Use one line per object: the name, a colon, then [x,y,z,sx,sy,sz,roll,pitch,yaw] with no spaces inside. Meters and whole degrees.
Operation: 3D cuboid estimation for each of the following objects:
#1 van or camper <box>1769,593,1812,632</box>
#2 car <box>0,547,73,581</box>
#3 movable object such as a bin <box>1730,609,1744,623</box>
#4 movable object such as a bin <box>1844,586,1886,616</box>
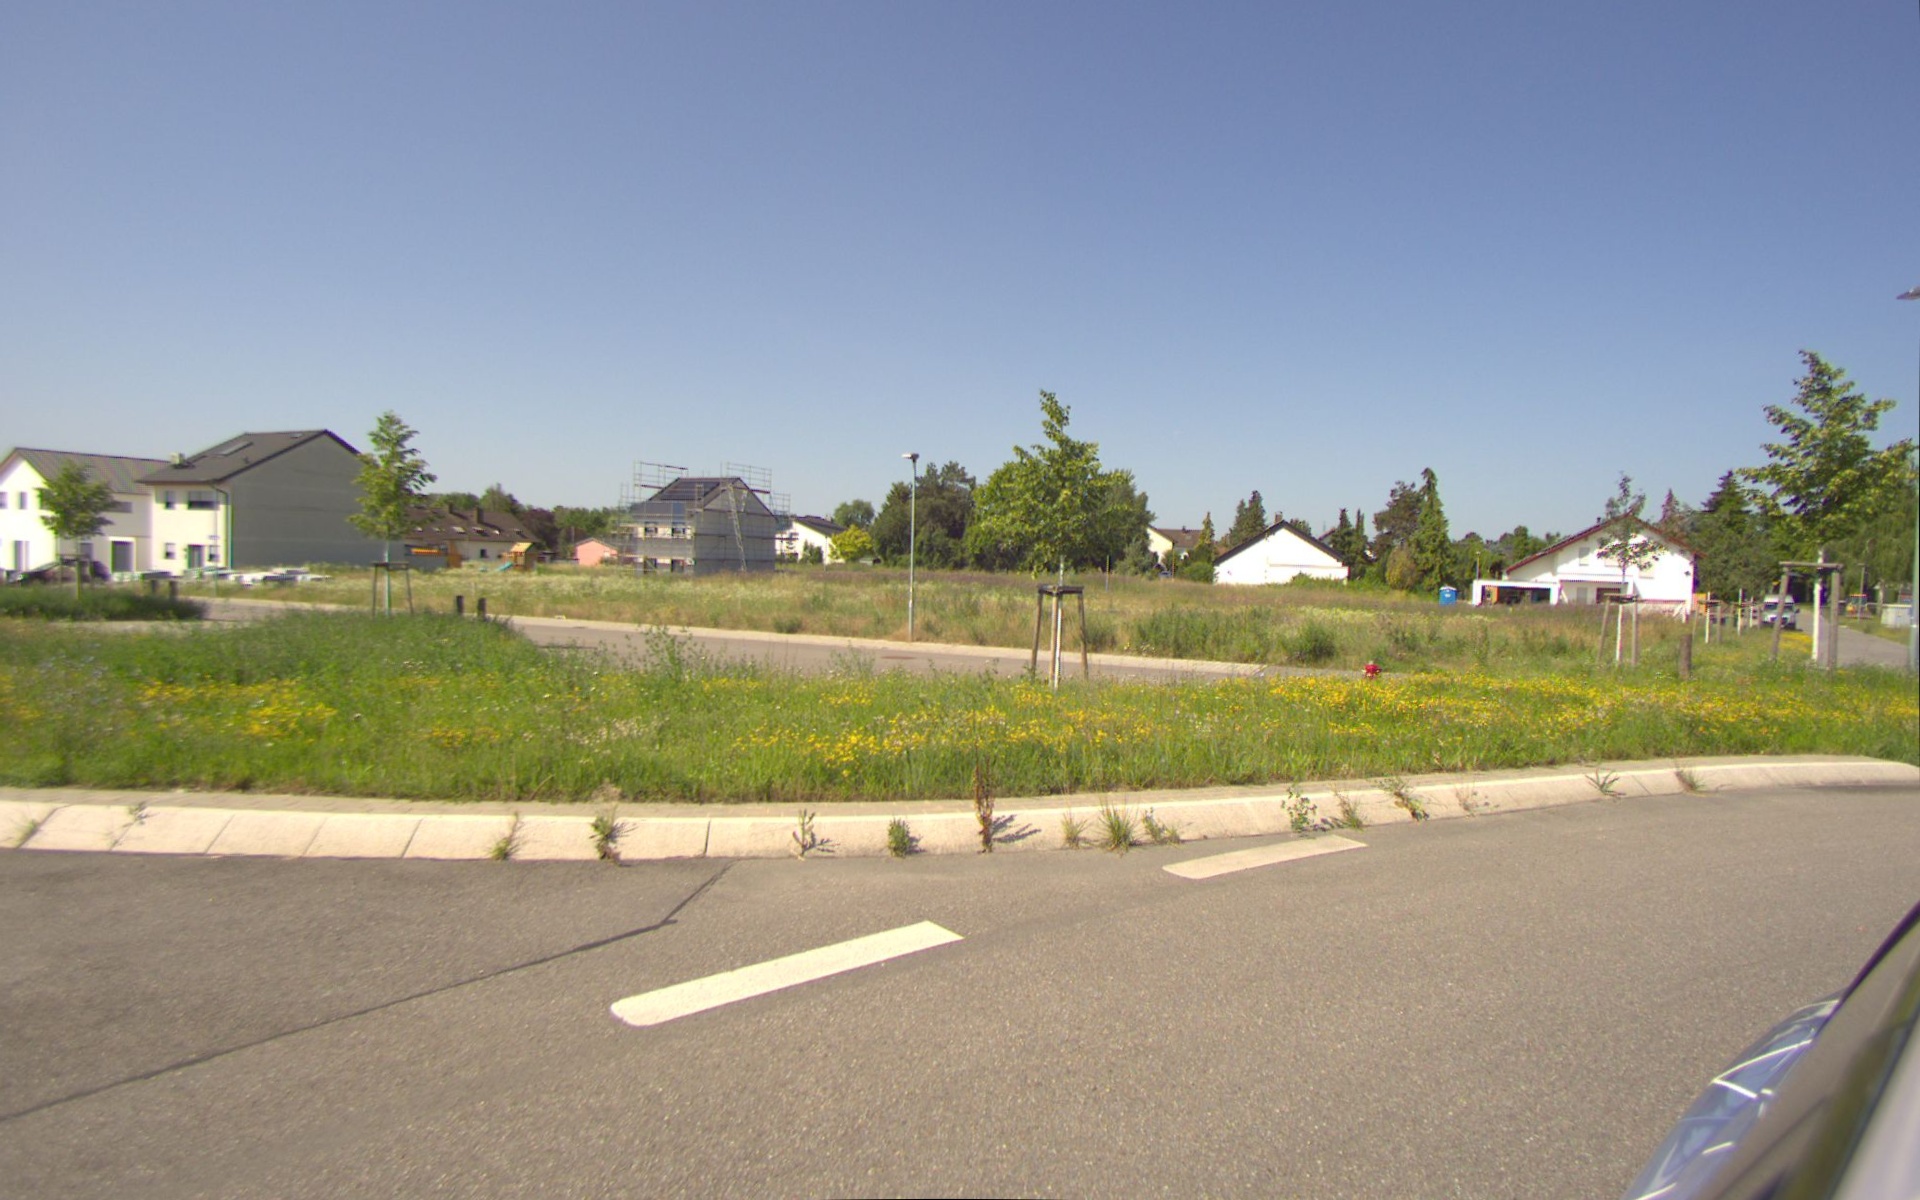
van or camper: [60.465,0.850,73.775,2.167,2.633,5.949,2,2,37]
car: [-52.217,-2.001,56.282,1.982,1.816,3.962,2,2,28]
movable object such as a bin: [56.347,1.148,73.386,0.692,0.949,0.628,3,2,44]
movable object such as a bin: [78.899,0.086,88.310,2.312,2.494,6.848,1,0,38]
